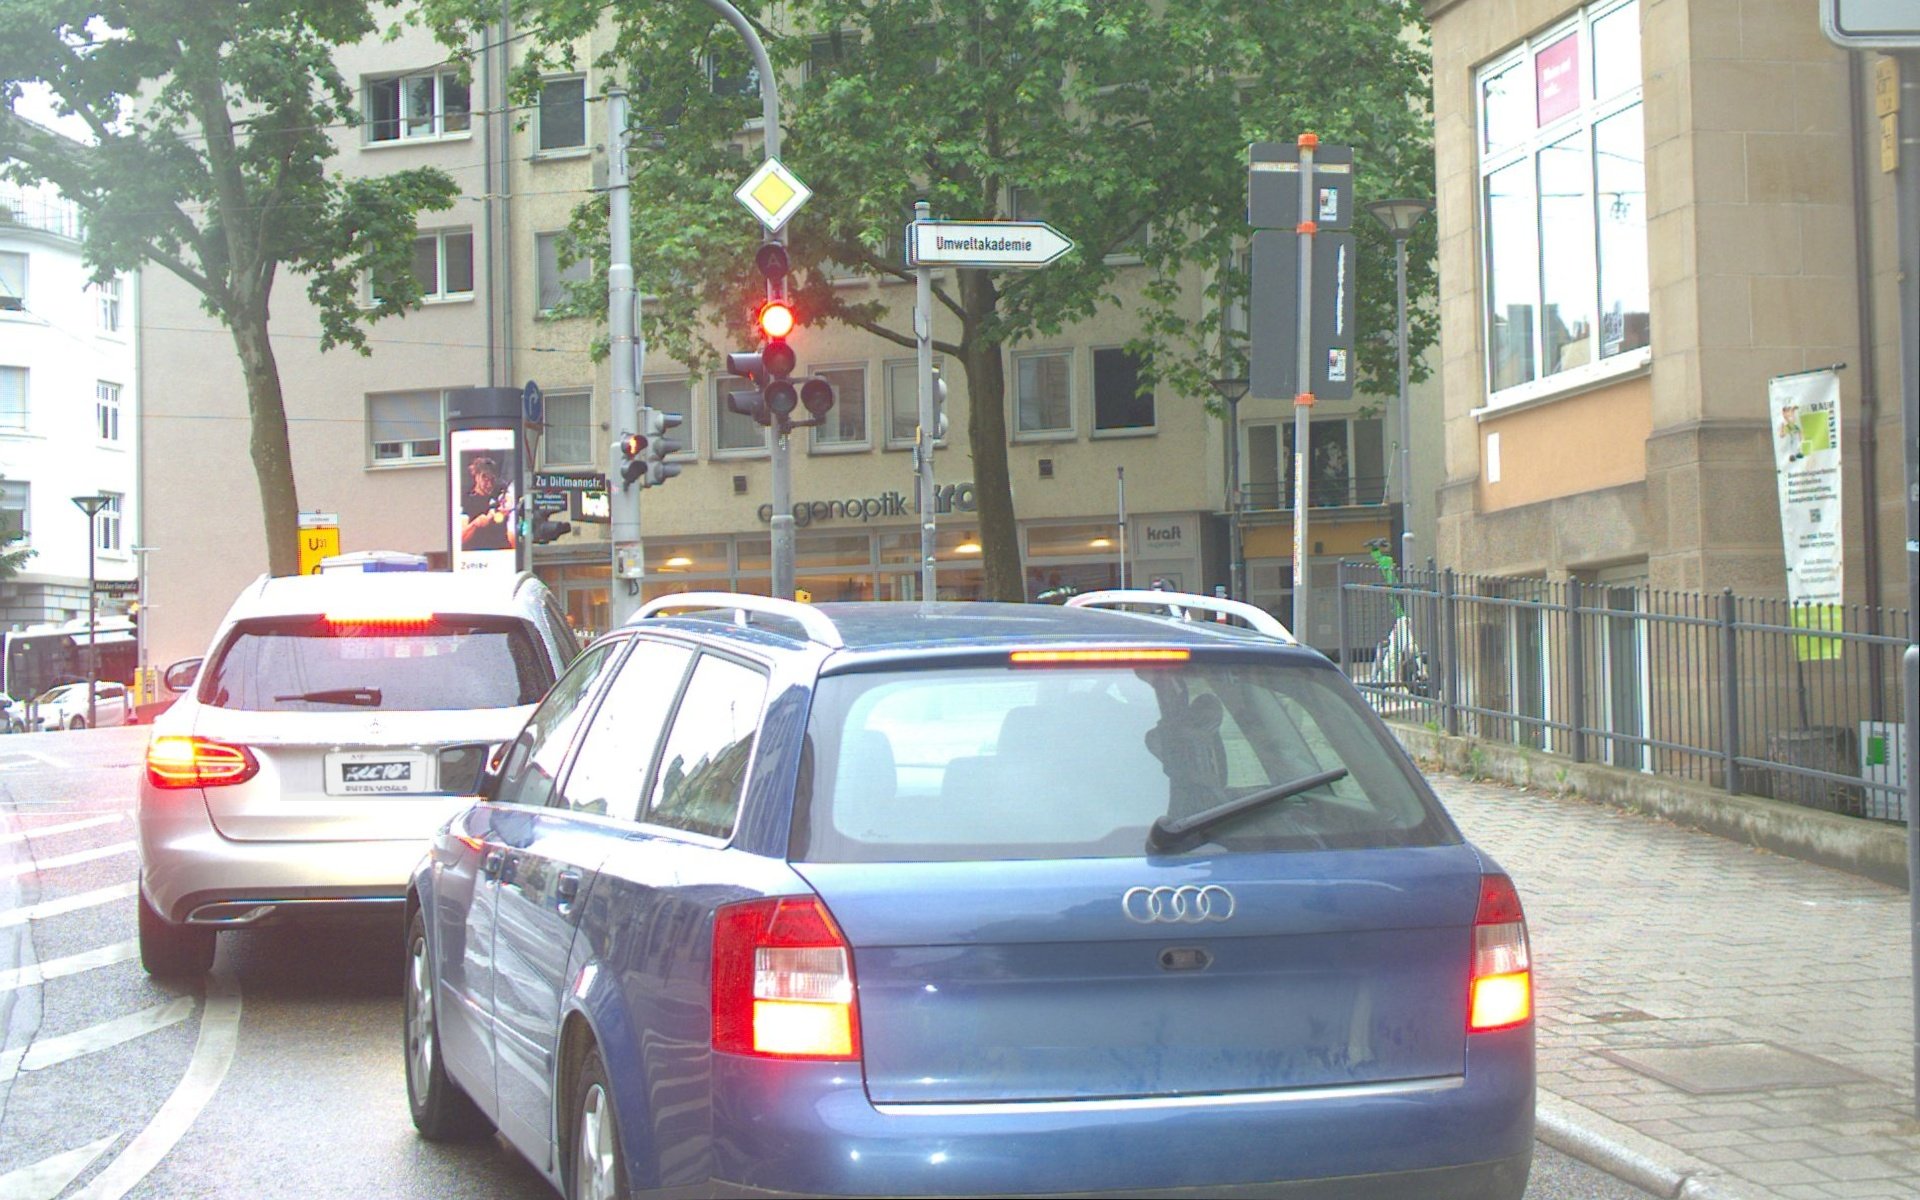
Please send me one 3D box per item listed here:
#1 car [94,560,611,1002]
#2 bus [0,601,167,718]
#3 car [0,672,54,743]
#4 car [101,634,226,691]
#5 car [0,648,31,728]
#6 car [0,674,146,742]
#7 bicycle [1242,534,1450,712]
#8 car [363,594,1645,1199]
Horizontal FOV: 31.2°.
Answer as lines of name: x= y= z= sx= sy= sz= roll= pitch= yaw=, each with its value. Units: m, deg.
car: x=-2.268 y=0.582 z=13.304 sx=1.710 sy=1.451 sz=3.554 roll=0 pitch=1 yaw=-8
bus: x=-25.221 y=1.592 z=94.680 sx=2.856 sy=2.851 sz=8.728 roll=-1 pitch=1 yaw=14
car: x=-24.027 y=2.660 z=83.933 sx=1.796 sy=1.609 sz=3.997 roll=-1 pitch=1 yaw=17
car: x=-23.507 y=1.840 z=101.574 sx=1.796 sy=1.505 sz=3.997 roll=-1 pitch=1 yaw=17
car: x=-19.913 y=1.818 z=68.357 sx=1.794 sy=1.505 sz=4.000 roll=-4 pitch=1 yaw=-1
car: x=-22.914 y=2.777 z=88.883 sx=1.796 sy=1.505 sz=3.997 roll=-1 pitch=1 yaw=17
bicycle: x=2.712 y=0.153 z=24.174 sx=1.300 sy=1.169 sz=0.526 roll=-3 pitch=1 yaw=-12
car: x=-0.219 y=0.726 z=7.617 sx=1.710 sy=1.410 sz=4.037 roll=0 pitch=1 yaw=-17
